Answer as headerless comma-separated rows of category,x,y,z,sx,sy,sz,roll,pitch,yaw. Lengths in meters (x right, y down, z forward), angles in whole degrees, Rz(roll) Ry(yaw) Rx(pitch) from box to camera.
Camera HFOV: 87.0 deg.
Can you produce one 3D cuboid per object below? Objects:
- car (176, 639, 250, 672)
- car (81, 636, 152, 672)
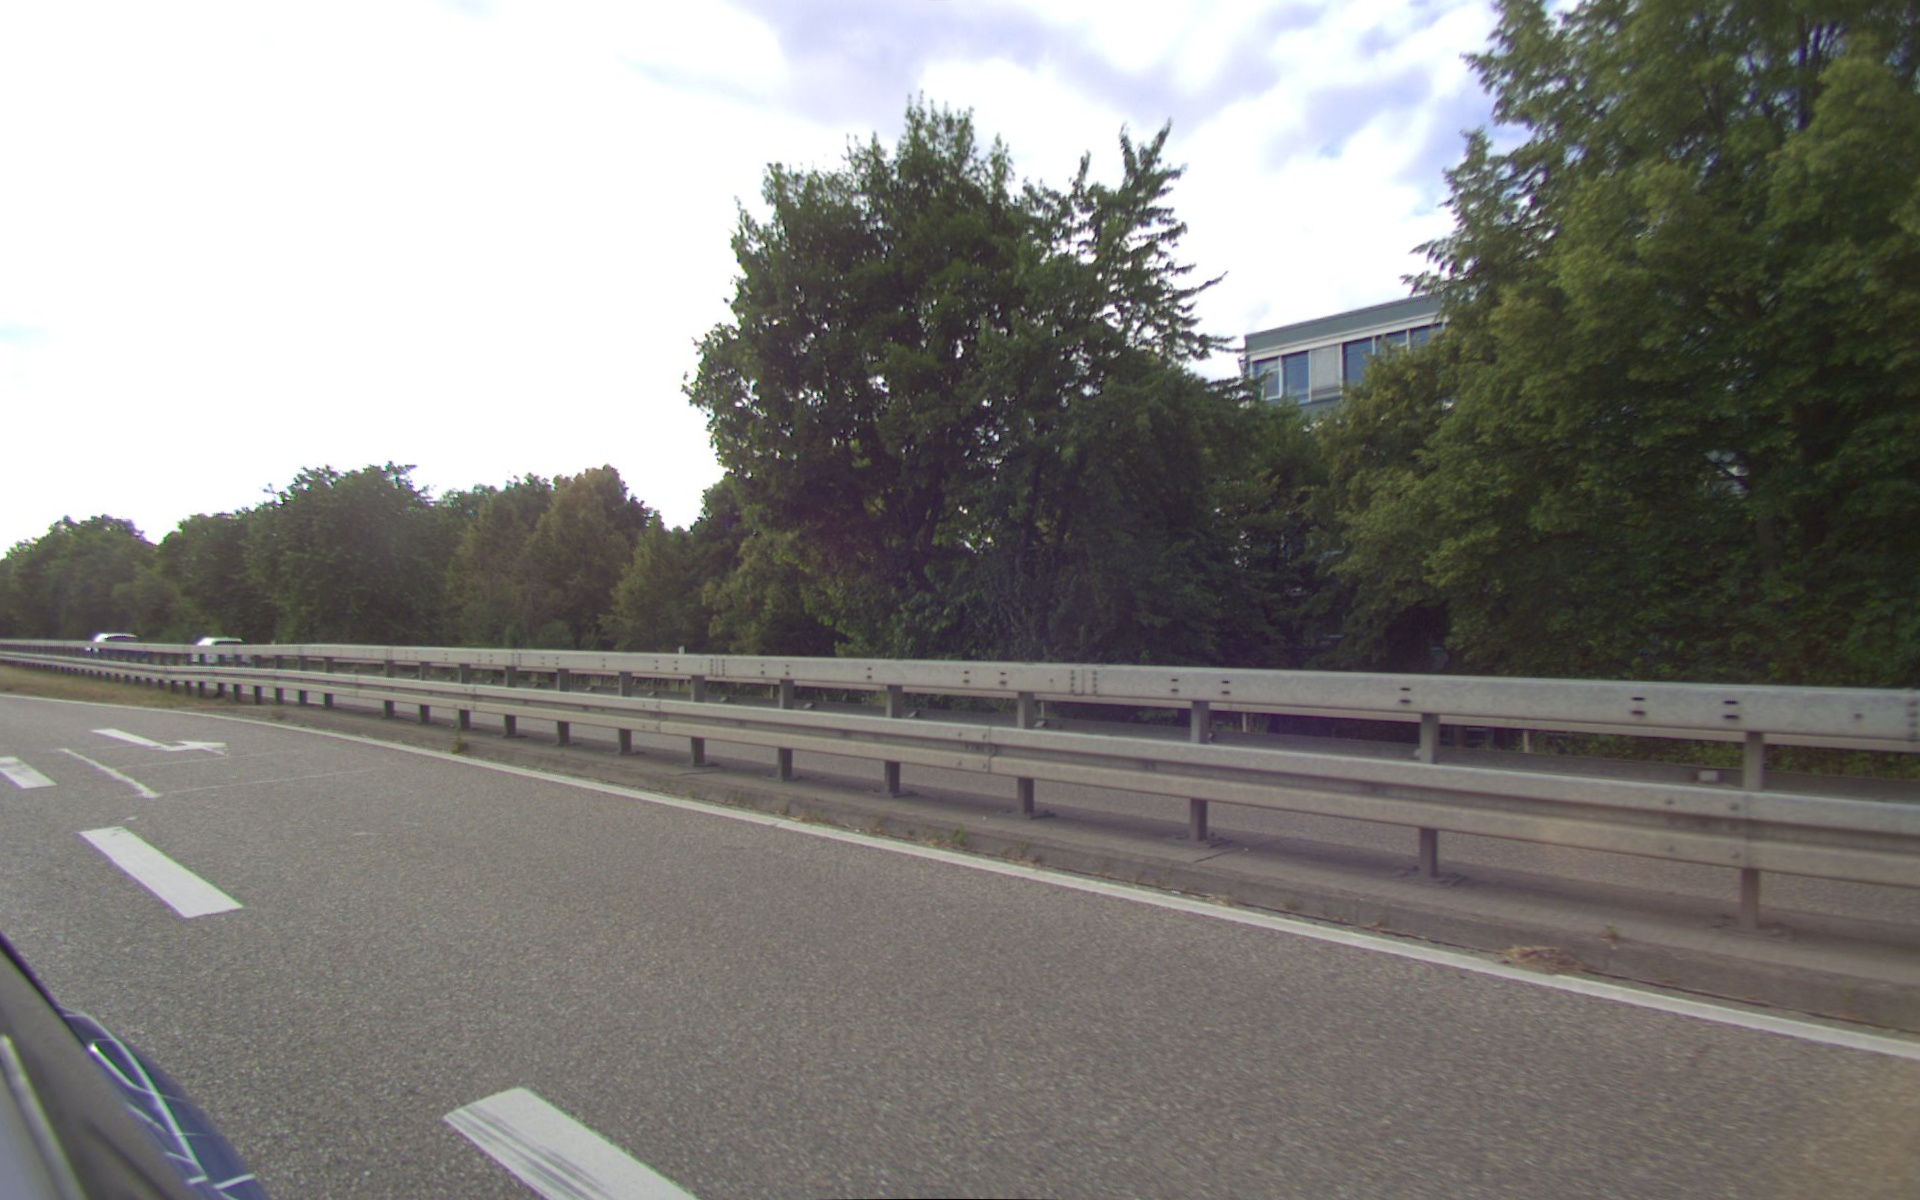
car,-34.207,2.527,46.297,4.456,1.424,1.741,-2,-3,41
car,-36.324,2.301,43.550,3.709,1.479,1.750,-2,-3,41
